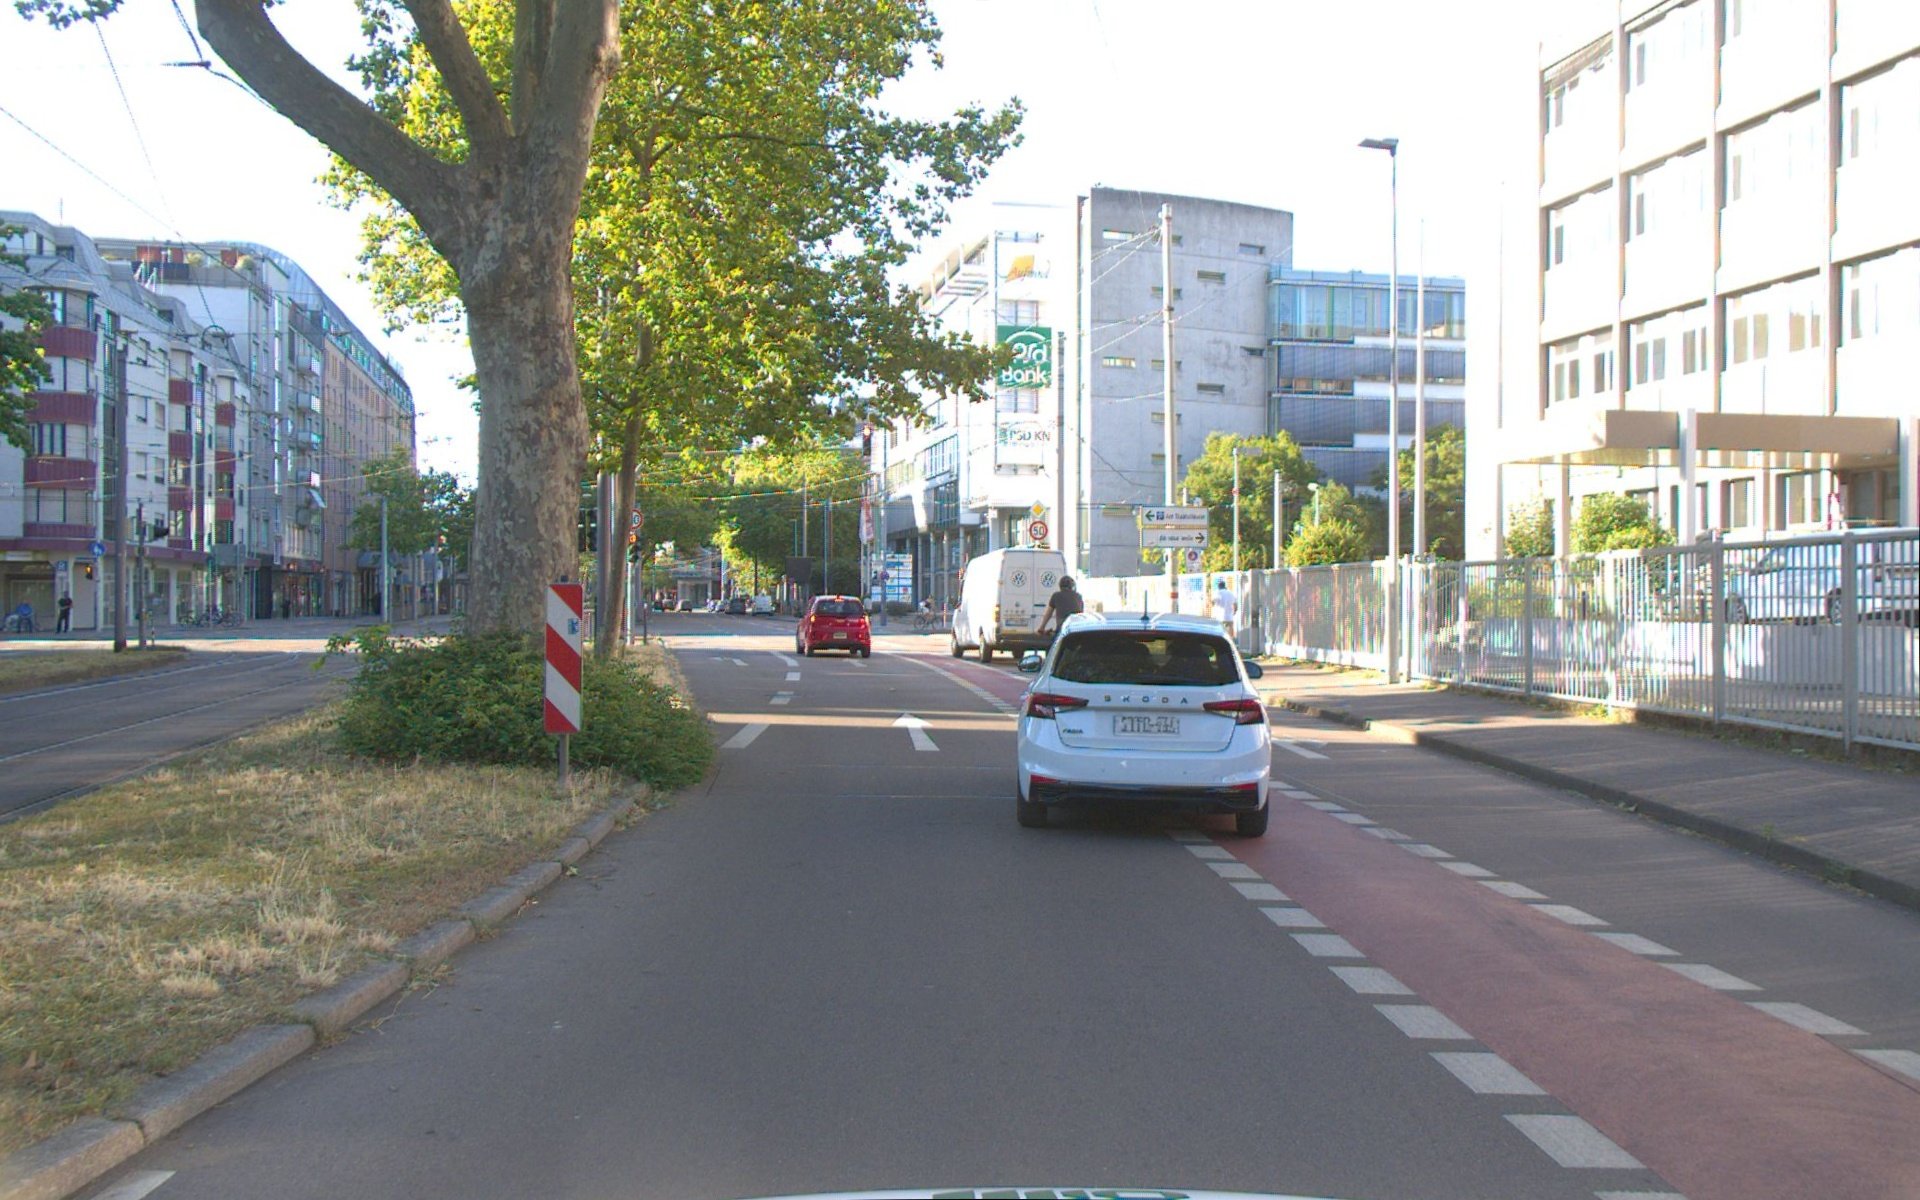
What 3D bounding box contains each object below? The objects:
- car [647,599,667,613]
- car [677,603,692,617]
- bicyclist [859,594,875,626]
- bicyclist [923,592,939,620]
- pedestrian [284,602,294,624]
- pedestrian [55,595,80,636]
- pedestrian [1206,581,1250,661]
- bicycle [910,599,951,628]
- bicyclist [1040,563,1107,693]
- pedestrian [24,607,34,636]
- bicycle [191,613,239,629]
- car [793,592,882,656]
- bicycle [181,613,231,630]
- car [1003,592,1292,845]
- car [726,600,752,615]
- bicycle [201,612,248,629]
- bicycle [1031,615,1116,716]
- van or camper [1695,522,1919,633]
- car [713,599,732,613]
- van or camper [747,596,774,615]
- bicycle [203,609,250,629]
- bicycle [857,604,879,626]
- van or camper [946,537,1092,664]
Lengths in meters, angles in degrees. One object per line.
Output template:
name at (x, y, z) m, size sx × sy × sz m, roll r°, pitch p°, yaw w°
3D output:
car at (-37.231, 0.779, 203.018) m, size 2.024 × 1.682 × 3.477 m, roll -1°, pitch 0°, yaw -16°
car at (-34.333, 1.217, 206.157) m, size 1.628 × 1.635 × 3.520 m, roll -1°, pitch 0°, yaw -12°
bicyclist at (-4.952, 0.539, 88.320) m, size 0.772 × 1.663 × 0.637 m, roll 0°, pitch 0°, yaw -14°
bicyclist at (-1.464, 0.289, 82.321) m, size 0.597 × 1.413 × 0.631 m, roll 0°, pitch 0°, yaw -25°
pedestrian at (-45.689, 0.860, 112.587) m, size 0.501 × 1.484 × 0.526 m, roll 0°, pitch 0°, yaw -11°
pedestrian at (-37.533, 0.631, 69.549) m, size 0.697 × 1.691 × 1.029 m, roll -1°, pitch 0°, yaw -16°
pedestrian at (6.034, 0.463, 37.270) m, size 0.771 × 1.779 × 0.770 m, roll -1°, pitch 0°, yaw -10°
bicycle at (-1.459, 0.647, 82.324) m, size 1.962 × 1.403 × 0.642 m, roll -1°, pitch 0°, yaw -24°
bicyclist at (1.509, 0.366, 22.115) m, size 0.729 × 1.698 × 0.744 m, roll 2°, pitch 0°, yaw -7°
pedestrian at (-39.743, 0.918, 70.584) m, size 0.298 × 1.235 × 0.317 m, roll -1°, pitch 0°, yaw -17°
bicycle at (-36.852, 1.040, 81.828) m, size 2.133 × 0.801 × 0.490 m, roll 0°, pitch 0°, yaw -15°
car at (-3.118, 0.570, 41.427) m, size 1.806 × 1.515 × 3.706 m, roll 0°, pitch 0°, yaw -11°
bicycle at (-36.949, 1.049, 81.032) m, size 2.133 × 0.801 × 0.638 m, roll 0°, pitch 0°, yaw -15°
car at (1.392, 0.734, 12.241) m, size 1.764 × 1.527 × 3.984 m, roll 1°, pitch 0°, yaw 7°
car at (-24.275, 0.818, 181.301) m, size 2.435 × 1.555 × 4.417 m, roll -1°, pitch 0°, yaw -13°
bicycle at (-36.982, 1.023, 83.184) m, size 2.133 × 0.838 × 0.526 m, roll 0°, pitch 0°, yaw -15°
bicycle at (1.494, 0.847, 22.151) m, size 0.729 × 1.245 × 2.153 m, roll 2°, pitch 0°, yaw -7°
van or camper at (16.511, -0.416, 31.622) m, size 1.946 × 1.942 × 4.984 m, roll -1°, pitch 0°, yaw -12°
car at (-28.975, 0.723, 201.621) m, size 1.853 × 1.555 × 4.415 m, roll -1°, pitch 0°, yaw -14°
van or camper at (-19.982, 0.556, 165.730) m, size 2.109 × 1.781 × 4.415 m, roll -1°, pitch 0°, yaw -14°
bicycle at (-37.151, 0.968, 83.804) m, size 2.133 × 0.967 × 0.490 m, roll 0°, pitch 0°, yaw -15°
bicycle at (-4.926, 0.796, 88.270) m, size 0.779 × 1.182 × 2.491 m, roll 0°, pitch 0°, yaw -13°
van or camper at (1.316, 0.013, 40.576) m, size 2.228 × 2.781 × 6.331 m, roll 2°, pitch 0°, yaw -10°
